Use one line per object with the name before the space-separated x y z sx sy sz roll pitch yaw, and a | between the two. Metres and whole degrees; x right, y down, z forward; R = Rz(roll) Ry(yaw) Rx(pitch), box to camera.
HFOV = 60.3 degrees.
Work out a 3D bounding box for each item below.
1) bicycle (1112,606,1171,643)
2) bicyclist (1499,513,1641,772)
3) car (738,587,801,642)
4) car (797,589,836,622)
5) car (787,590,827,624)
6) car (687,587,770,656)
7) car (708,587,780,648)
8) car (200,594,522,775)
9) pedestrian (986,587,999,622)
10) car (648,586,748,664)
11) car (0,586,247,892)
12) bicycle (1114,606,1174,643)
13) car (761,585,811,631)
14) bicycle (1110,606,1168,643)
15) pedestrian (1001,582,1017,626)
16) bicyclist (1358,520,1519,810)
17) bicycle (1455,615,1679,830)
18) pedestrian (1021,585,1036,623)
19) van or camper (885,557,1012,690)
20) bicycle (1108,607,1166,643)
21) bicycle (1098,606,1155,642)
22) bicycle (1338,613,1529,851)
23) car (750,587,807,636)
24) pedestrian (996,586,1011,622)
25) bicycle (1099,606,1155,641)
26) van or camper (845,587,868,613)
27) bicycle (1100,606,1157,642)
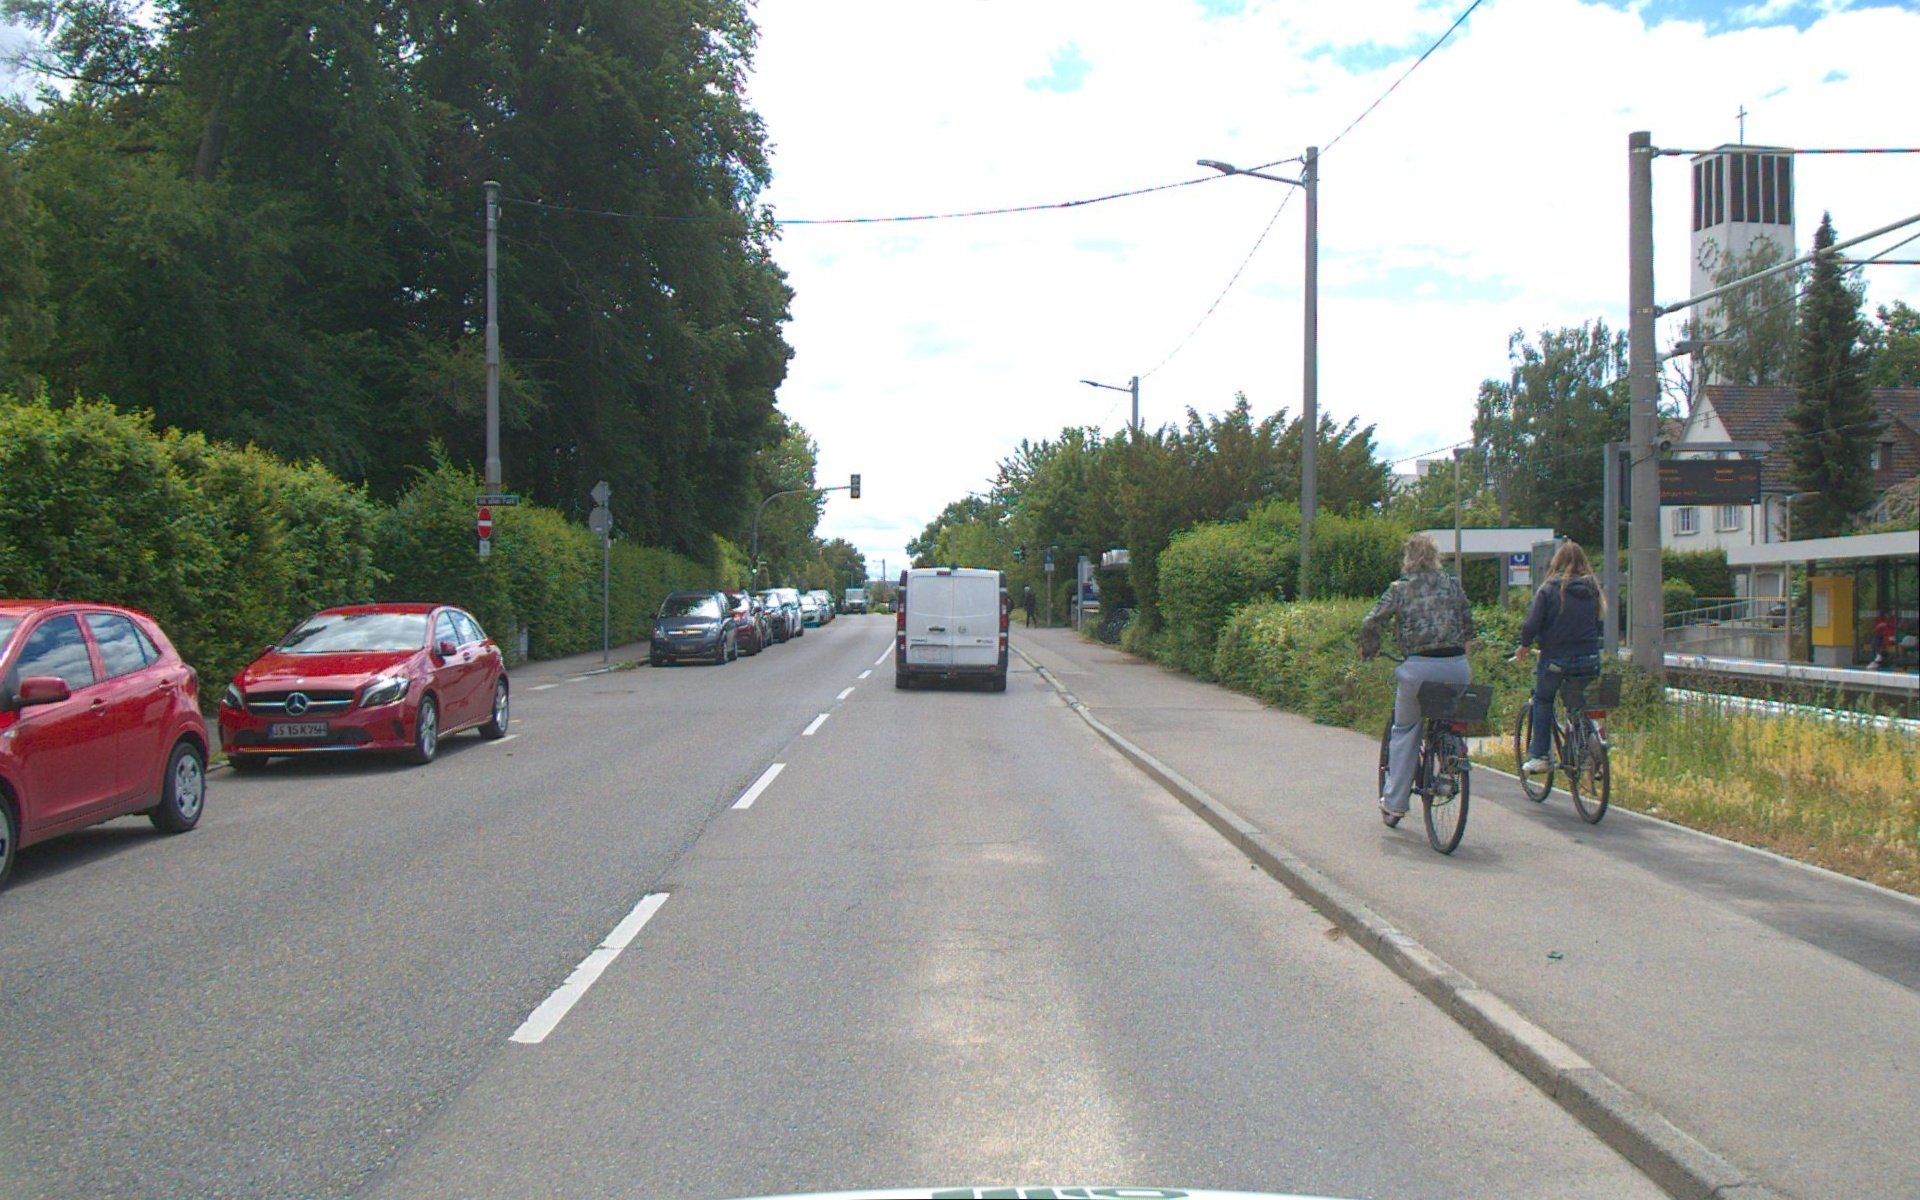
bicycle | 5.285 0.705 48.265 1.664 1.048 0.491 1 0 -2
bicyclist | 4.089 0.271 11.133 0.626 1.678 0.819 1 0 -1
car | -6.193 0.442 54.125 1.726 1.685 3.813 -1 0 -2
car | -7.670 0.270 88.906 1.744 1.698 4.000 1 0 0
car | -7.366 0.324 79.862 1.726 1.584 3.813 -1 0 -2
car | -6.006 0.521 43.293 1.726 1.685 4.059 -1 0 -2
car | -6.320 0.474 48.630 1.726 1.685 3.813 -1 0 -2
car | -5.637 0.706 16.130 1.726 1.497 4.184 -1 0 -2
pedestrian | 1.790 0.236 91.165 0.688 1.883 0.666 1 0 -1
car | -5.892 0.517 37.635 1.726 1.654 4.184 -1 0 -2
car | -5.592 0.708 9.351 1.556 1.531 3.515 -1 0 0
bicycle | 5.303 0.712 47.709 1.664 1.048 0.491 1 0 -2
car | -6.945 0.290 66.302 1.726 1.787 3.813 -1 0 -2
bicycle | 5.285 0.727 48.840 1.664 1.048 0.491 1 0 -2
pedestrian | 2.112 0.180 71.235 0.666 1.873 0.646 1 0 5
bicyclist | 2.803 0.365 9.755 0.703 1.640 0.757 1 0 -1
bicycle | 4.080 0.764 11.339 0.606 1.268 2.395 1 0 -1
pedestrian | 3.065 0.182 74.299 0.660 1.726 0.522 1 0 4
van or camper | -0.198 0.384 28.275 1.953 2.049 4.445 2 0 0
bicycle | 5.296 0.732 49.404 1.664 1.048 0.491 1 0 -2
bicycle | 5.021 0.729 49.969 1.664 1.048 0.491 1 0 -2
bicycle | 2.831 0.732 10.092 0.535 1.268 2.055 1 0 -1
car | -6.471 0.375 59.344 1.726 1.685 3.813 -1 0 -2
pedestrian | 2.186 0.200 83.820 0.638 1.838 0.564 1 0 -13
bicycle | 5.150 0.735 51.047 1.664 1.048 0.491 1 0 -2
van or camper | -9.378 -0.011 149.823 1.964 2.301 4.609 -1 0 -3
bicycle | 5.141 0.729 50.501 1.664 1.048 0.491 1 0 -2
